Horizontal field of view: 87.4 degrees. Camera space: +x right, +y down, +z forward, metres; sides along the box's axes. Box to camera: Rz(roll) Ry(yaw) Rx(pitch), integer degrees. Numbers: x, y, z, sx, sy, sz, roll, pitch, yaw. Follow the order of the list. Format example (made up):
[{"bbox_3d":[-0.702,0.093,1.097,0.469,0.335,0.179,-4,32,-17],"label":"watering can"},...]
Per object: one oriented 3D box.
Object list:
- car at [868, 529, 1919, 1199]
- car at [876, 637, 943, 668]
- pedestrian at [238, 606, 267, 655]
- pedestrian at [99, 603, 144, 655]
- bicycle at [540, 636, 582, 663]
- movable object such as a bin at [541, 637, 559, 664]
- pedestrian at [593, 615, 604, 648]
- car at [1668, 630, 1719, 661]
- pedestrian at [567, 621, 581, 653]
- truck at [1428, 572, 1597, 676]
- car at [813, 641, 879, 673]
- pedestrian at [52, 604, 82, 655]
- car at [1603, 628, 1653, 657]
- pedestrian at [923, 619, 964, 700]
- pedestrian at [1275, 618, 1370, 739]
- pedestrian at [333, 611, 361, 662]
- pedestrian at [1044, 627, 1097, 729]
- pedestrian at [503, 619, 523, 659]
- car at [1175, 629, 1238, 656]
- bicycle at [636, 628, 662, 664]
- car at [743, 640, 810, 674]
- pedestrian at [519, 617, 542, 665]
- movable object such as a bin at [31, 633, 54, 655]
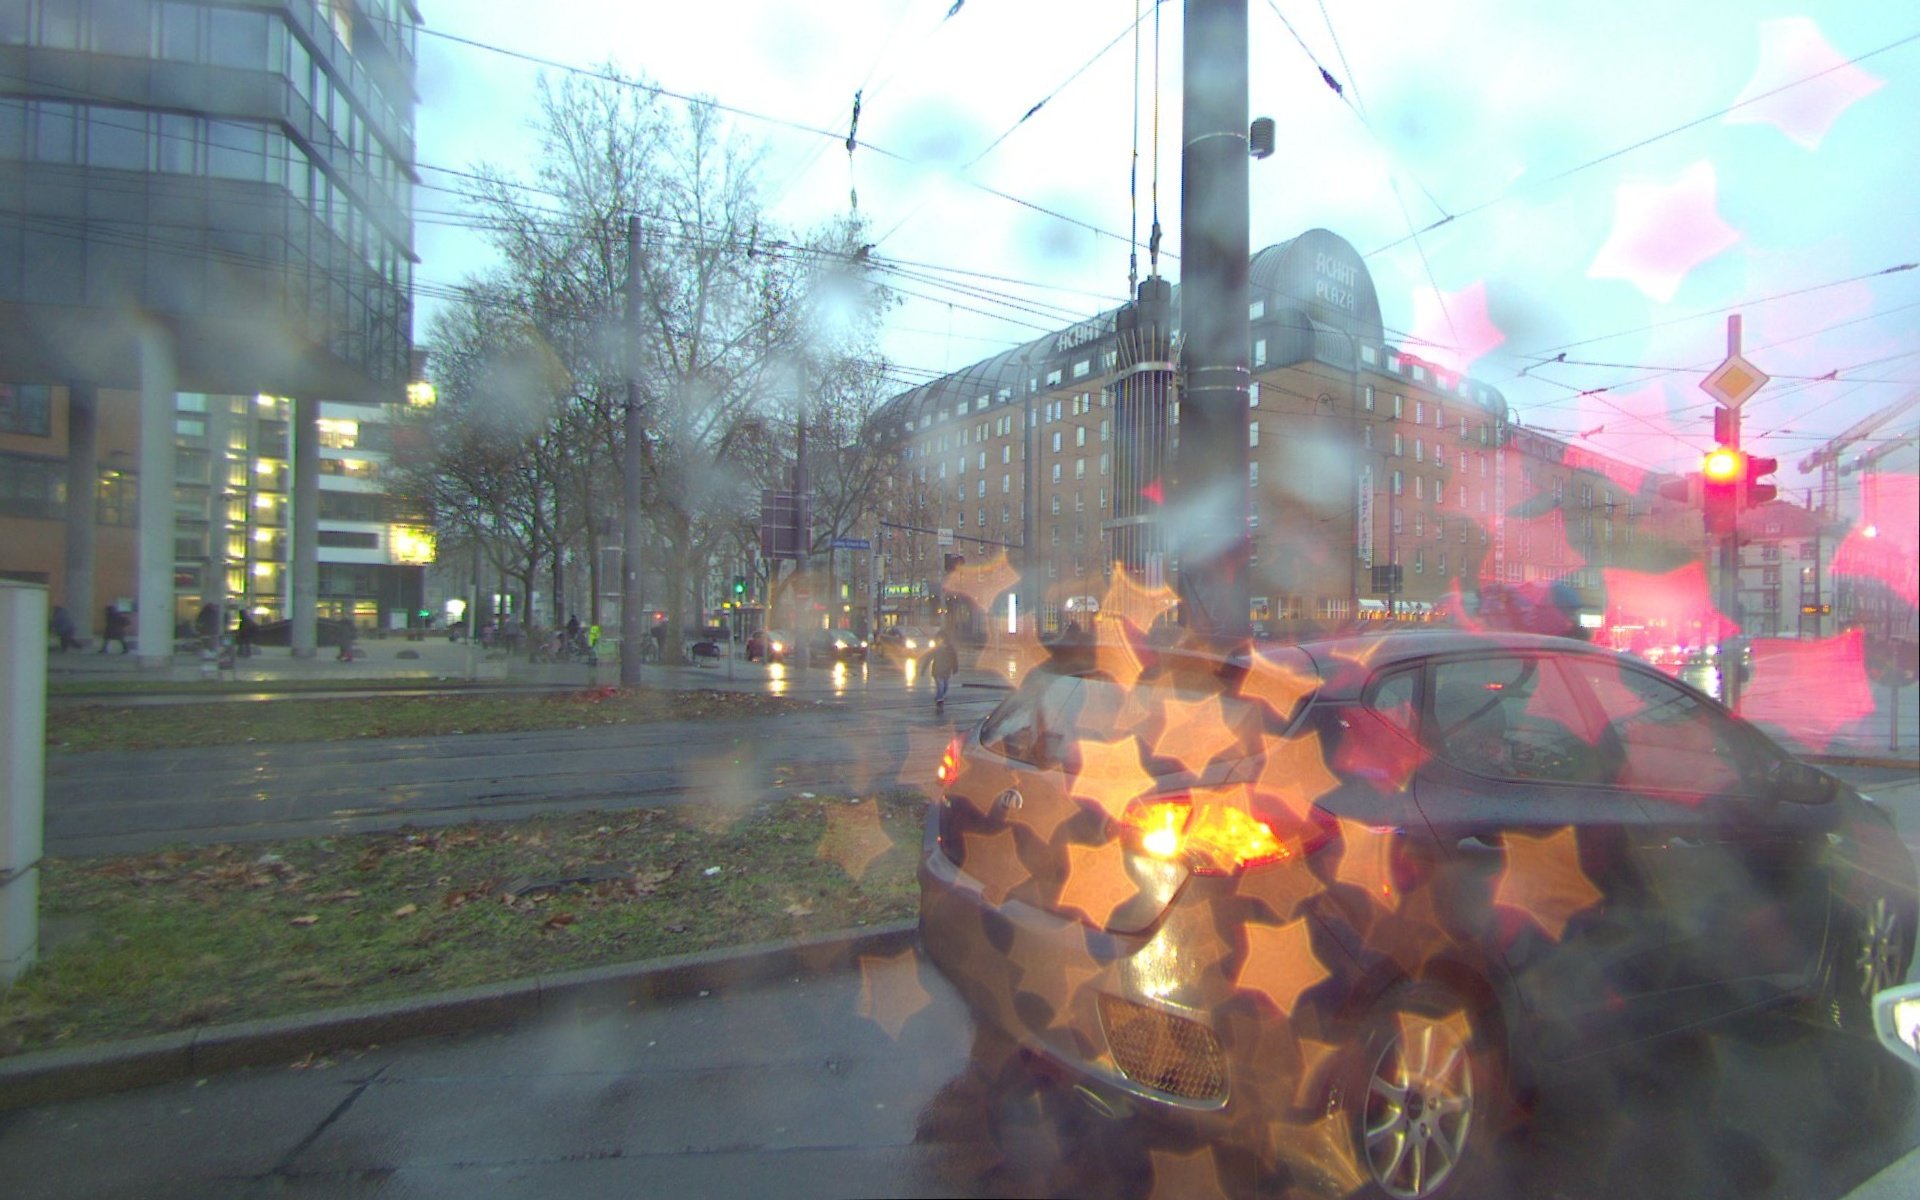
[{"bbox_3d":[1.783,0.732,3.674,3.894,1.543,1.623,3,-3,-29],"label":"car"},{"bbox_3d":[-2.698,2.717,52.580,1.975,1.483,3.970,1,-2,-28],"label":"car"},{"bbox_3d":[-25.166,1.090,35.741,0.776,1.734,0.650,1,-2,-32],"label":"pedestrian"},{"bbox_3d":[-28.306,0.987,33.923,0.772,1.734,1.008,1,-2,-15],"label":"pedestrian"},{"bbox_3d":[-16.349,2.029,41.173,1.564,1.088,0.451,1,-2,-20],"label":"bicycle"},{"bbox_3d":[-15.928,1.966,39.051,0.637,1.048,0.572,1,-1,-23],"label":"movable object such as a bin"},{"bbox_3d":[-22.505,1.993,62.525,0.568,2.040,0.583,1,-2,-16],"label":"pedestrian"},{"bbox_3d":[46.529,2.876,63.671,3.973,1.885,1.974,2,-2,-44],"label":"car"},{"bbox_3d":[-19.619,1.885,51.014,0.637,1.577,0.765,1,-1,-22],"label":"pedestrian"},{"bbox_3d":[21.531,0.942,39.741,2.791,3.681,7.529,1,-1,2],"label":"truck"},{"bbox_3d":[-5.803,2.817,50.633,1.975,1.483,3.970,1,-2,-28],"label":"car"},{"bbox_3d":[-29.041,0.964,32.660,0.670,1.629,0.449,1,-2,-38],"label":"pedestrian"},{"bbox_3d":[44.279,2.799,66.544,3.973,1.885,1.974,2,-2,-44],"label":"car"},{"bbox_3d":[-0.315,1.120,19.057,0.724,1.519,0.676,1,-1,-4],"label":"pedestrian"},{"bbox_3d":[5.010,1.078,13.930,1.017,1.621,0.715,0,-3,-5],"label":"pedestrian"},{"bbox_3d":[-21.873,1.320,35.851,0.811,1.797,0.568,1,-2,-29],"label":"pedestrian"},{"bbox_3d":[1.697,1.194,15.515,0.635,1.532,0.560,1,-1,-18],"label":"pedestrian"},{"bbox_3d":[-20.355,1.771,45.756,0.719,1.840,0.773,1,-1,-30],"label":"pedestrian"},{"bbox_3d":[14.826,2.561,60.605,1.686,1.467,3.980,1,-1,-21],"label":"car"},{"bbox_3d":[-12.253,1.792,39.544,0.624,1.336,2.296,1,-2,-25],"label":"bicycle"},{"bbox_3d":[-8.739,2.663,47.551,1.975,1.483,3.970,1,-2,-28],"label":"car"},{"bbox_3d":[-16.590,1.580,38.823,0.778,1.828,0.868,1,-1,-22],"label":"pedestrian"},{"bbox_3d":[-29.498,1.411,32.298,0.481,0.698,0.353,2,-2,-38],"label":"movable object such as a bin"}]
